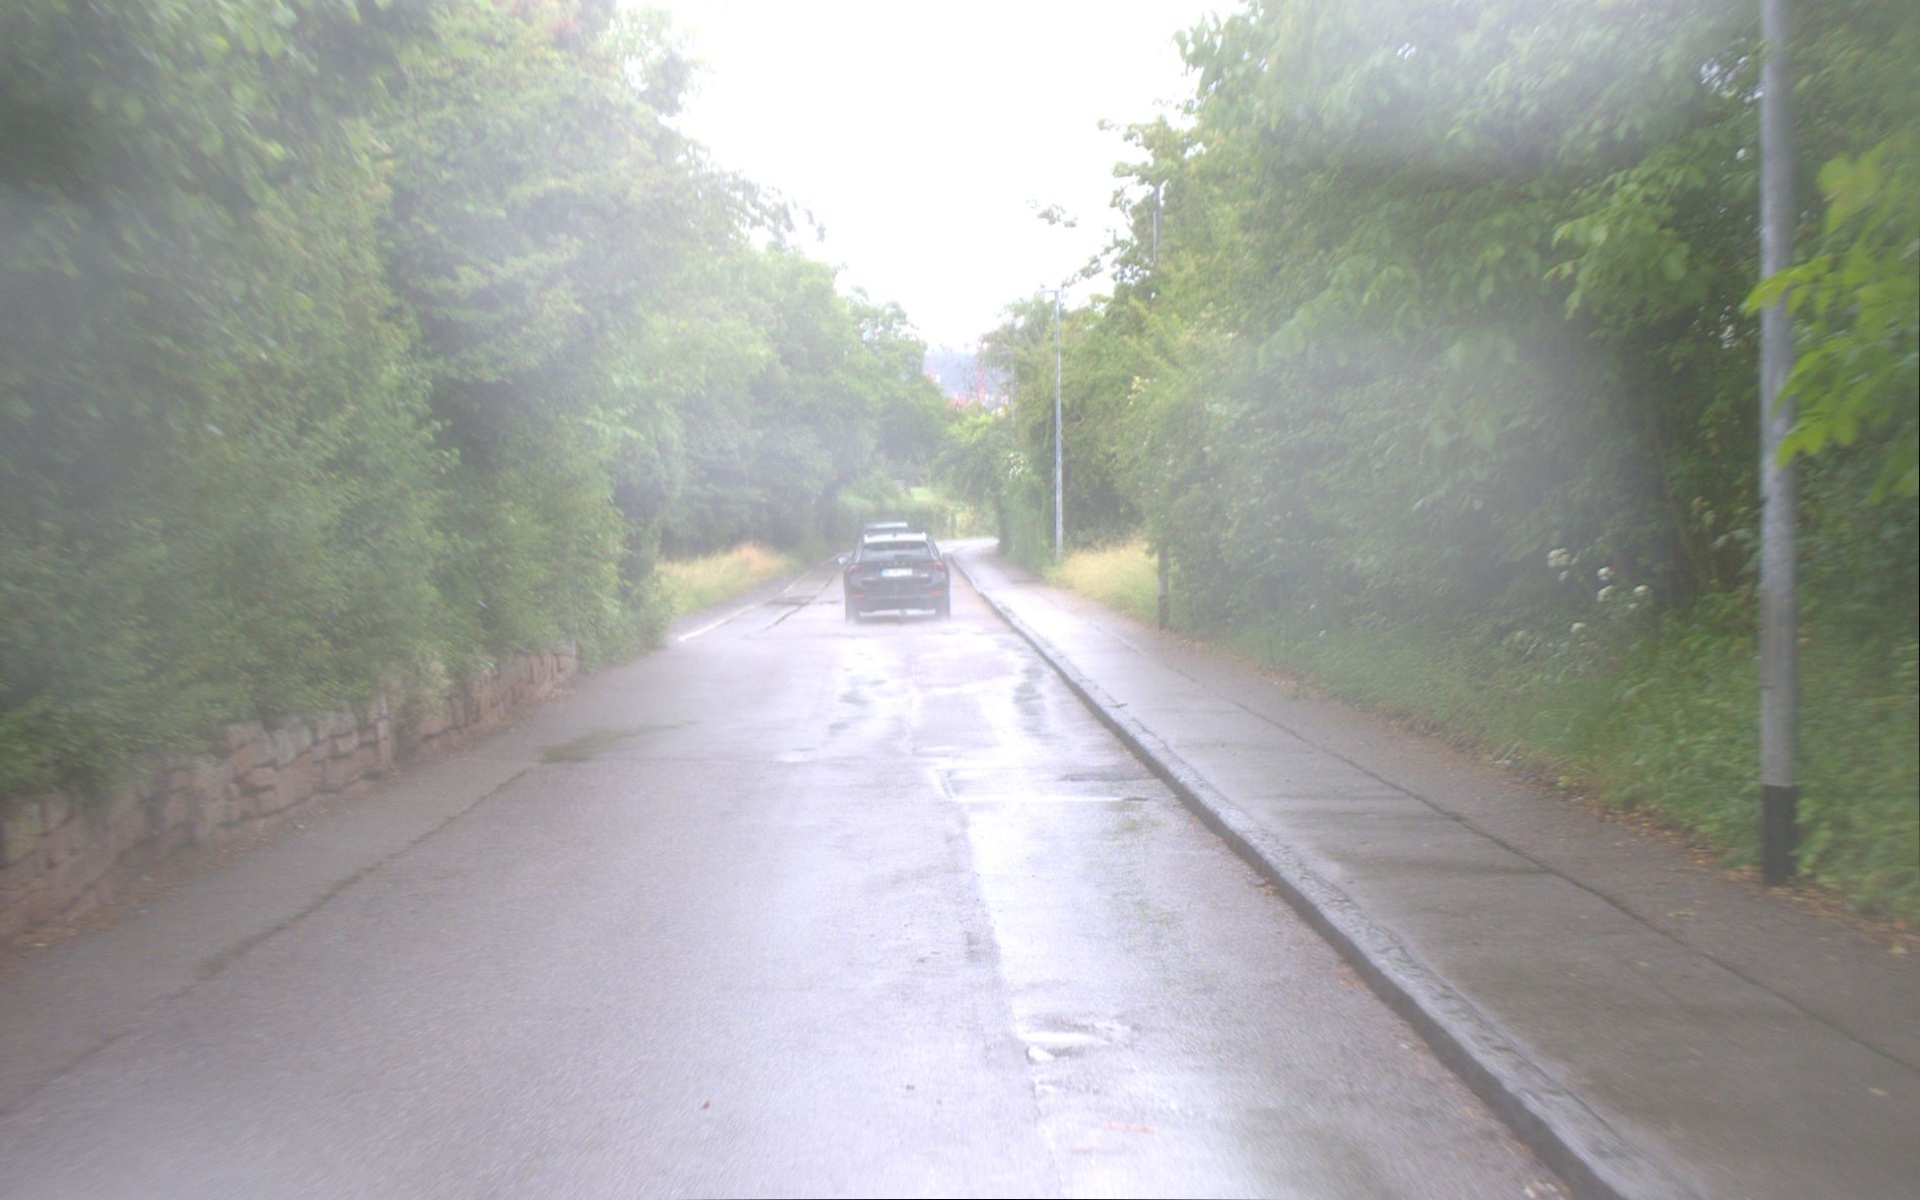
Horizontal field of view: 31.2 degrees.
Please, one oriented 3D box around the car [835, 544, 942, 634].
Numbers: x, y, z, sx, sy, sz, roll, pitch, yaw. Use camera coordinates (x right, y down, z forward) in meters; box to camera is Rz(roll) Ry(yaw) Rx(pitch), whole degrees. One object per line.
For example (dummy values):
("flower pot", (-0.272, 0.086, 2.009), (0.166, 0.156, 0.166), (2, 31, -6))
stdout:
("car", (-1.182, -0.187, 57.922), (1.635, 1.445, 3.544), (-1, 0, 1))
